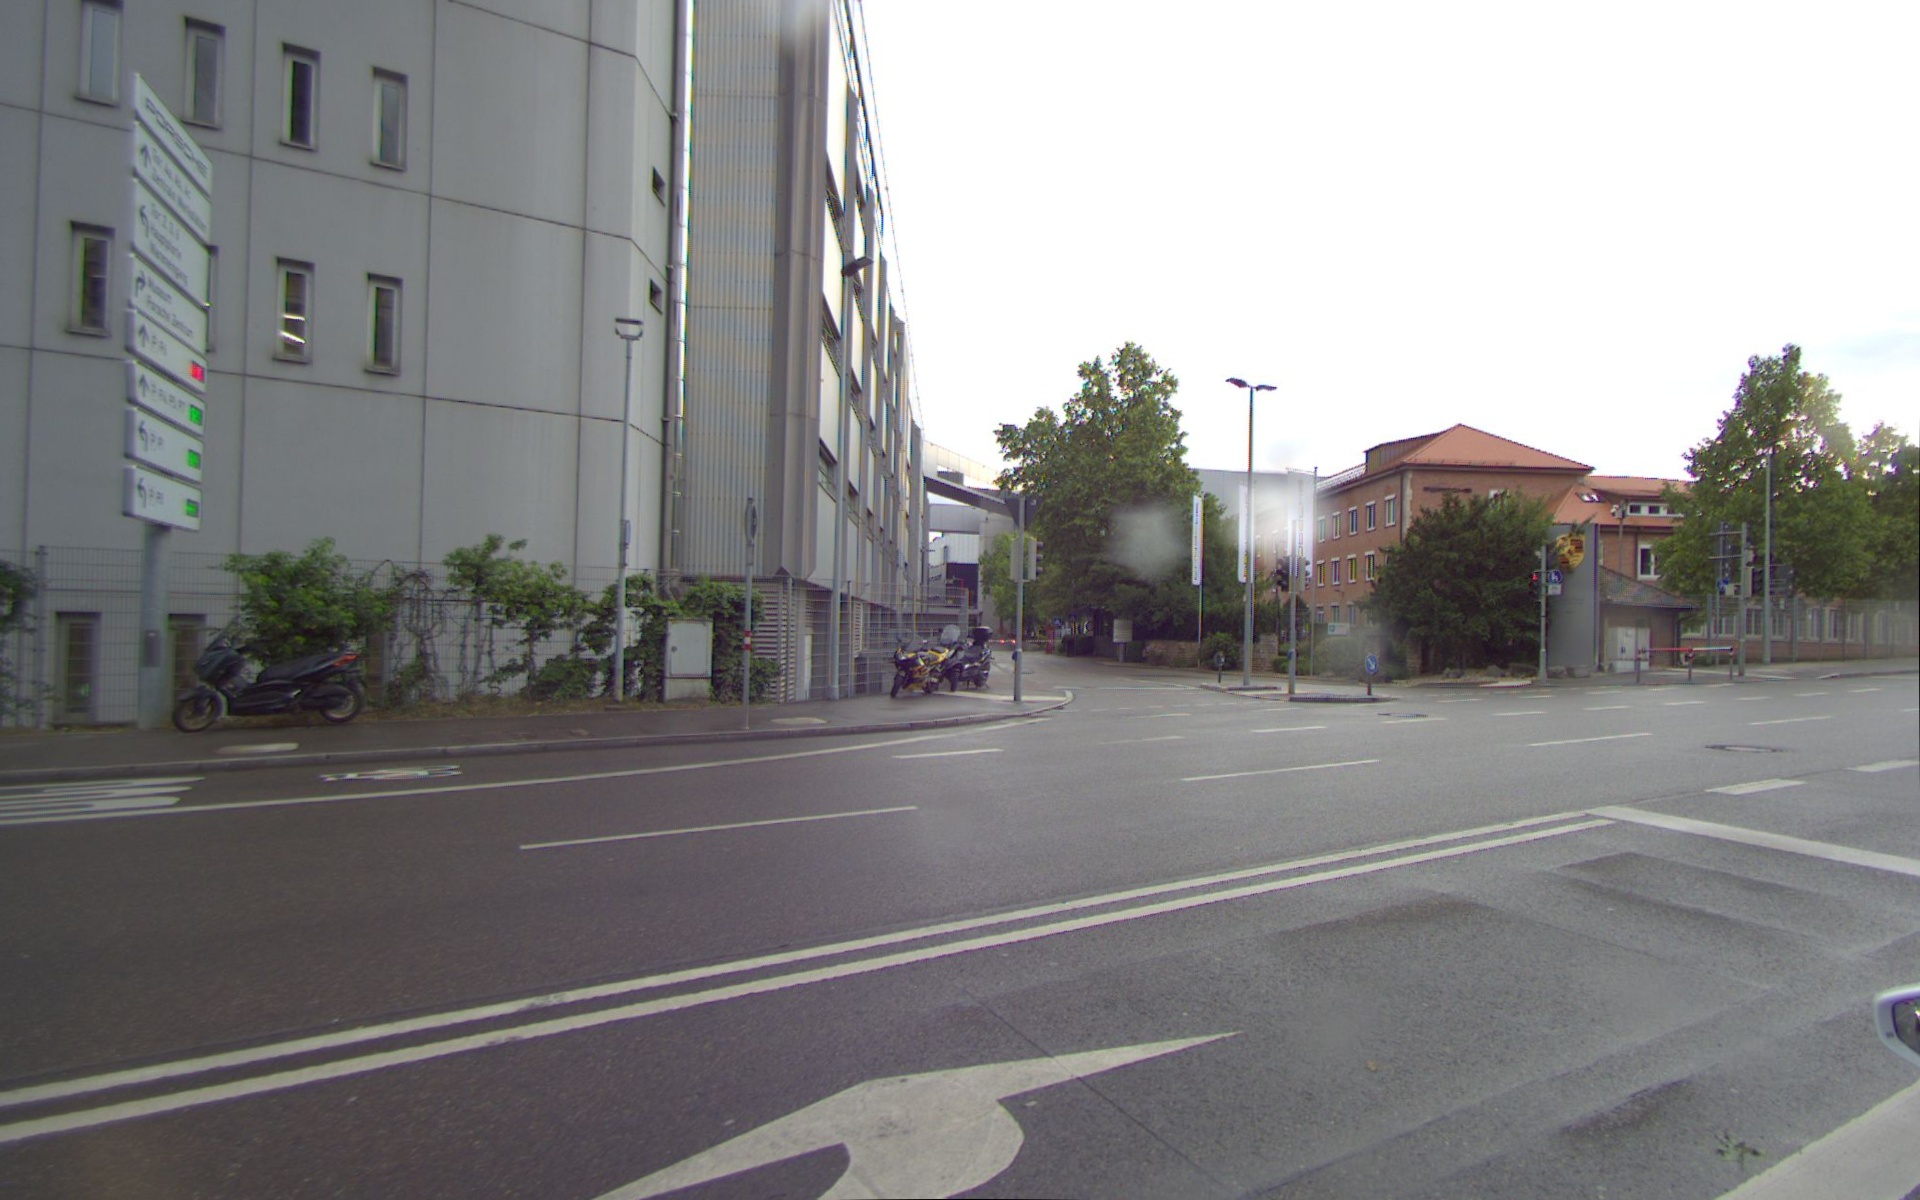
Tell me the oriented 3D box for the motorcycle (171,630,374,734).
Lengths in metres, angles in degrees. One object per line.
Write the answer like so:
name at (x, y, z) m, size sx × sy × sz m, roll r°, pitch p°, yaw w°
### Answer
motorcycle at (-8.973, 1.042, 13.237) m, size 2.133 × 1.263 × 0.781 m, roll 2°, pitch -1°, yaw -31°

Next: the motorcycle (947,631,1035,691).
motorcycle at (0.792, 1.416, 23.923) m, size 1.008 × 1.355 × 2.772 m, roll -1°, pitch -2°, yaw 27°

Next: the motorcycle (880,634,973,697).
motorcycle at (-0.667, 1.366, 21.490) m, size 0.759 × 1.234 × 2.504 m, roll 0°, pitch -1°, yaw 31°
